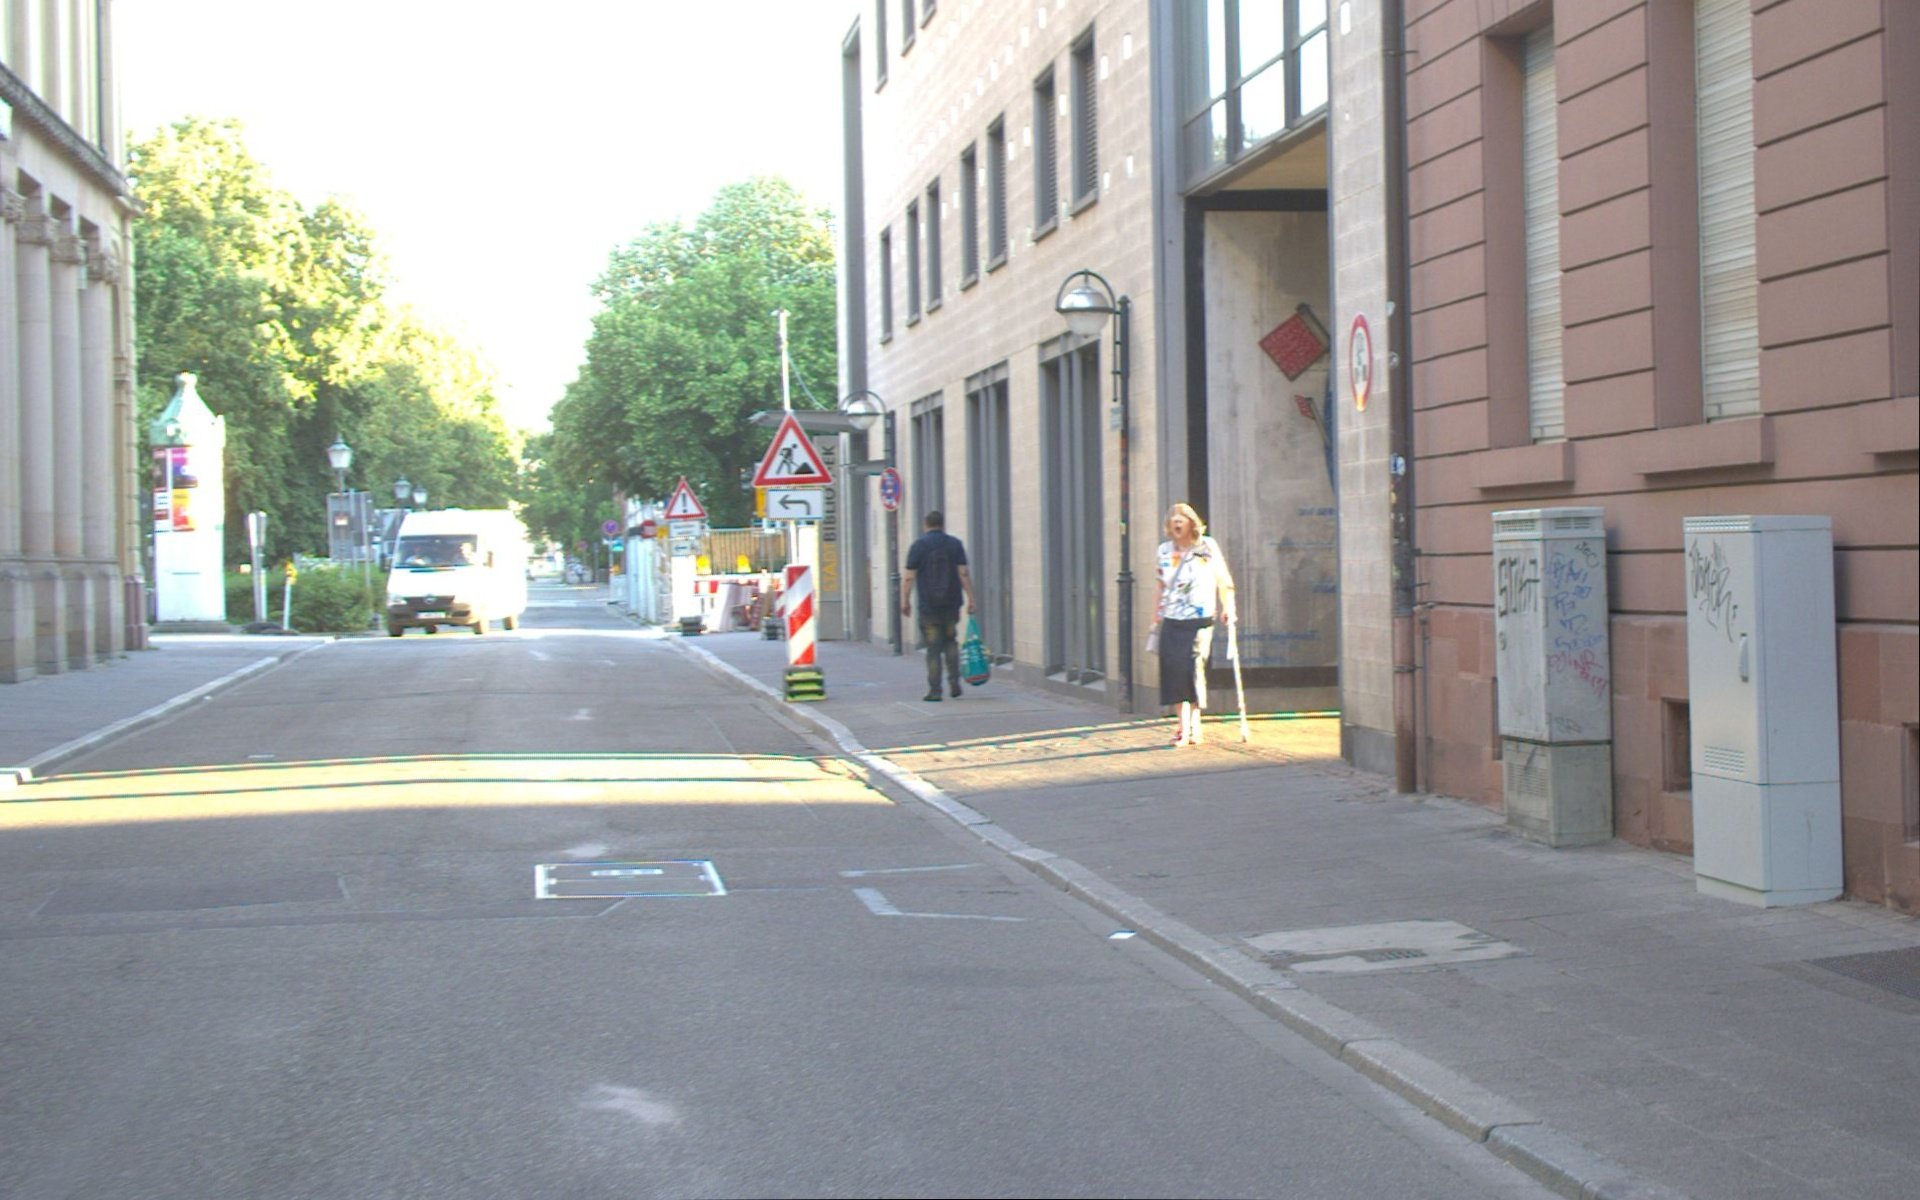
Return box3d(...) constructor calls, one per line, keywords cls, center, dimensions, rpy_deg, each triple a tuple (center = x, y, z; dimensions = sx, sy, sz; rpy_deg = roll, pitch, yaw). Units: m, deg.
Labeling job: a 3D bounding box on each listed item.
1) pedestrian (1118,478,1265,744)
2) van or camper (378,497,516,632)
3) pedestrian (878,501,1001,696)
box3d(cls="pedestrian", center=(1.631, 0.073, 24.366), dimensions=(0.845, 1.797, 0.897), rpy_deg=(-4, 0, -2))
box3d(cls="van or camper", center=(-10.295, -0.740, 69.474), dimensions=(2.219, 2.576, 6.373), rpy_deg=(-1, 1, -4))
box3d(cls="pedestrian", center=(-0.205, -0.014, 32.711), dimensions=(1.000, 1.797, 0.882), rpy_deg=(-2, 0, -8))
